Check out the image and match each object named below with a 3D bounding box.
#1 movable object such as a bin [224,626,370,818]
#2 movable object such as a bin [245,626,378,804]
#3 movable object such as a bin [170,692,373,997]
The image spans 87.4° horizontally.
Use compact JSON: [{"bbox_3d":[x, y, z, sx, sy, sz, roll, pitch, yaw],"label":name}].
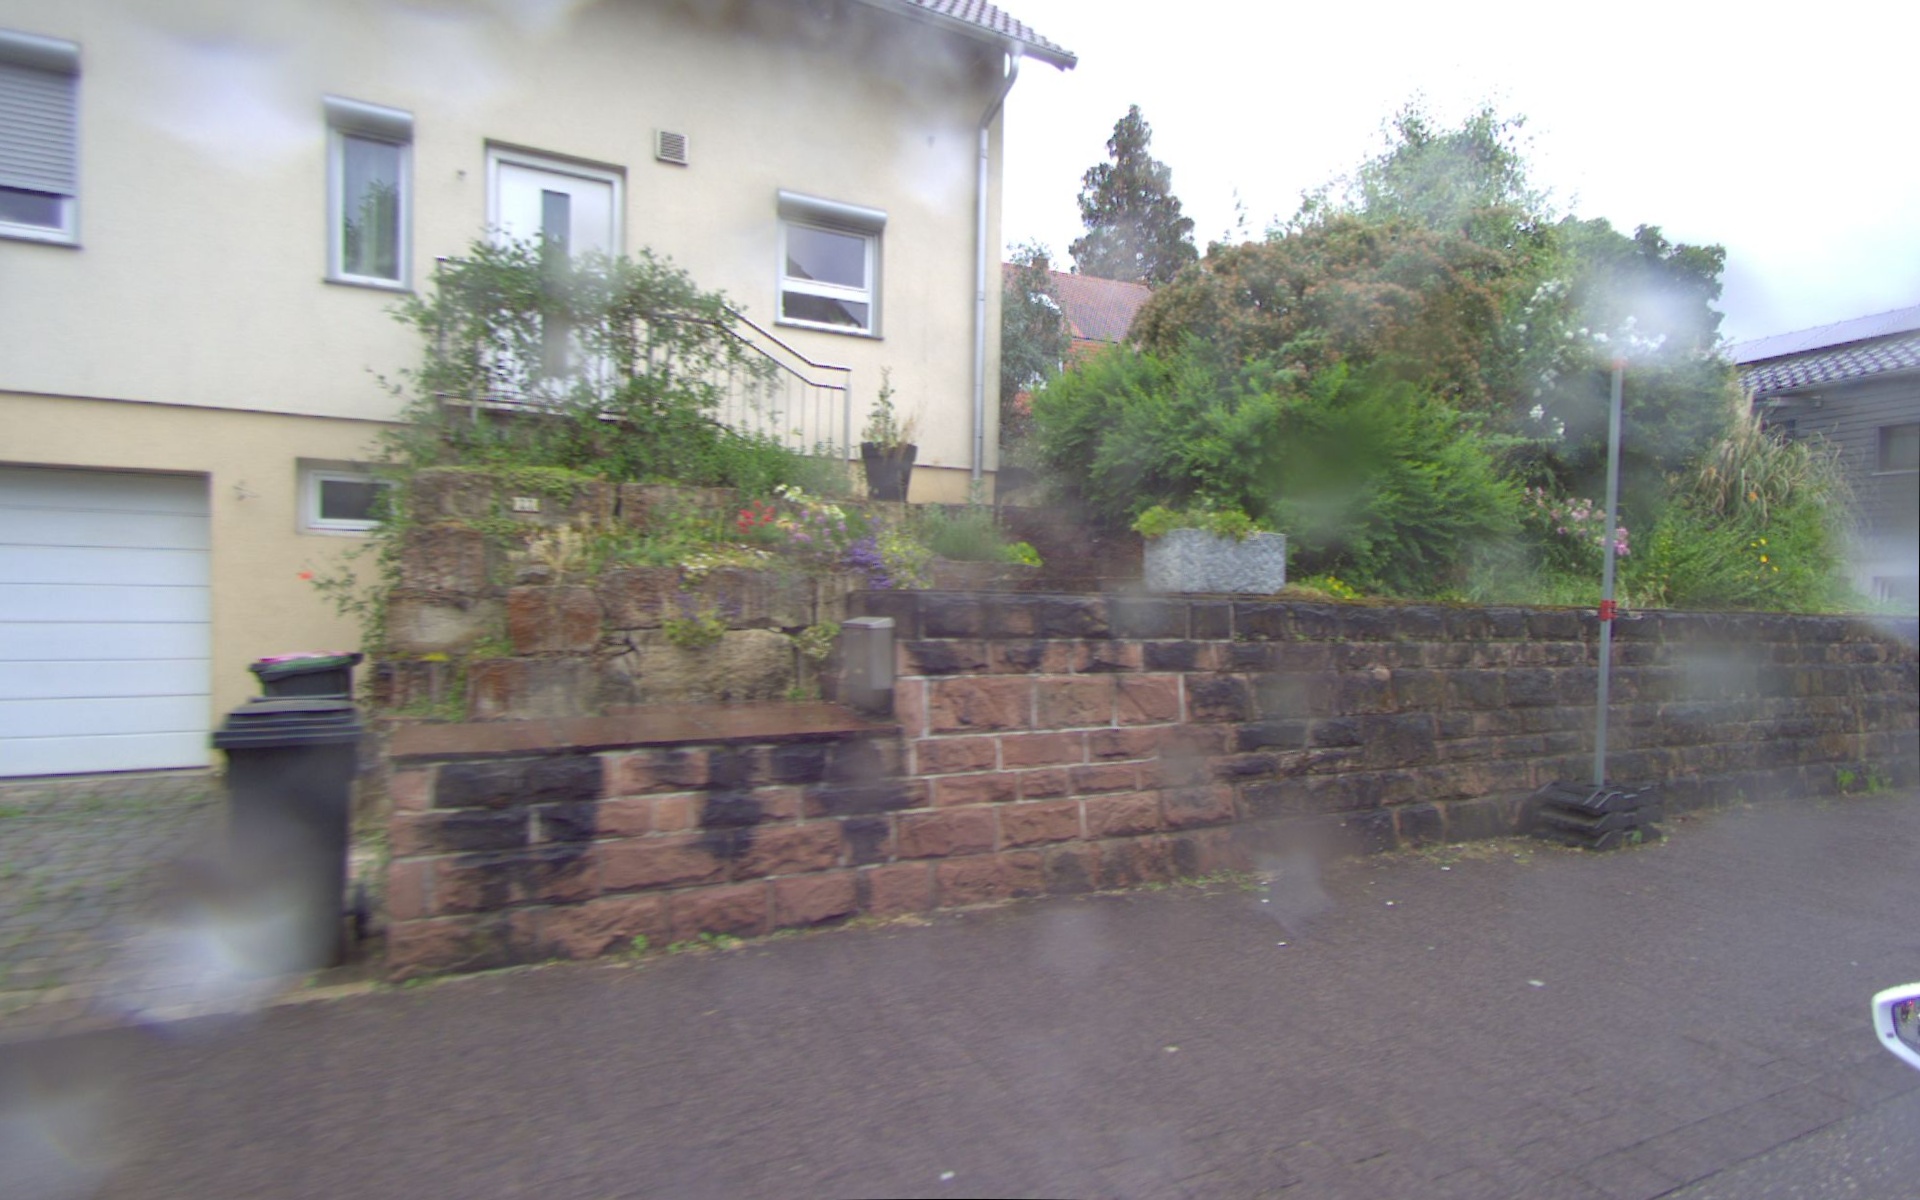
[{"bbox_3d":[-4.139,0.729,6.320,0.647,1.077,0.620,-2,3,-25],"label":"movable object such as a bin"},{"bbox_3d":[-4.439,0.760,6.919,0.640,1.122,0.605,0,3,-21],"label":"movable object such as a bin"},{"bbox_3d":[-2.487,0.842,3.680,0.538,0.943,0.535,2,1,-29],"label":"movable object such as a bin"}]
